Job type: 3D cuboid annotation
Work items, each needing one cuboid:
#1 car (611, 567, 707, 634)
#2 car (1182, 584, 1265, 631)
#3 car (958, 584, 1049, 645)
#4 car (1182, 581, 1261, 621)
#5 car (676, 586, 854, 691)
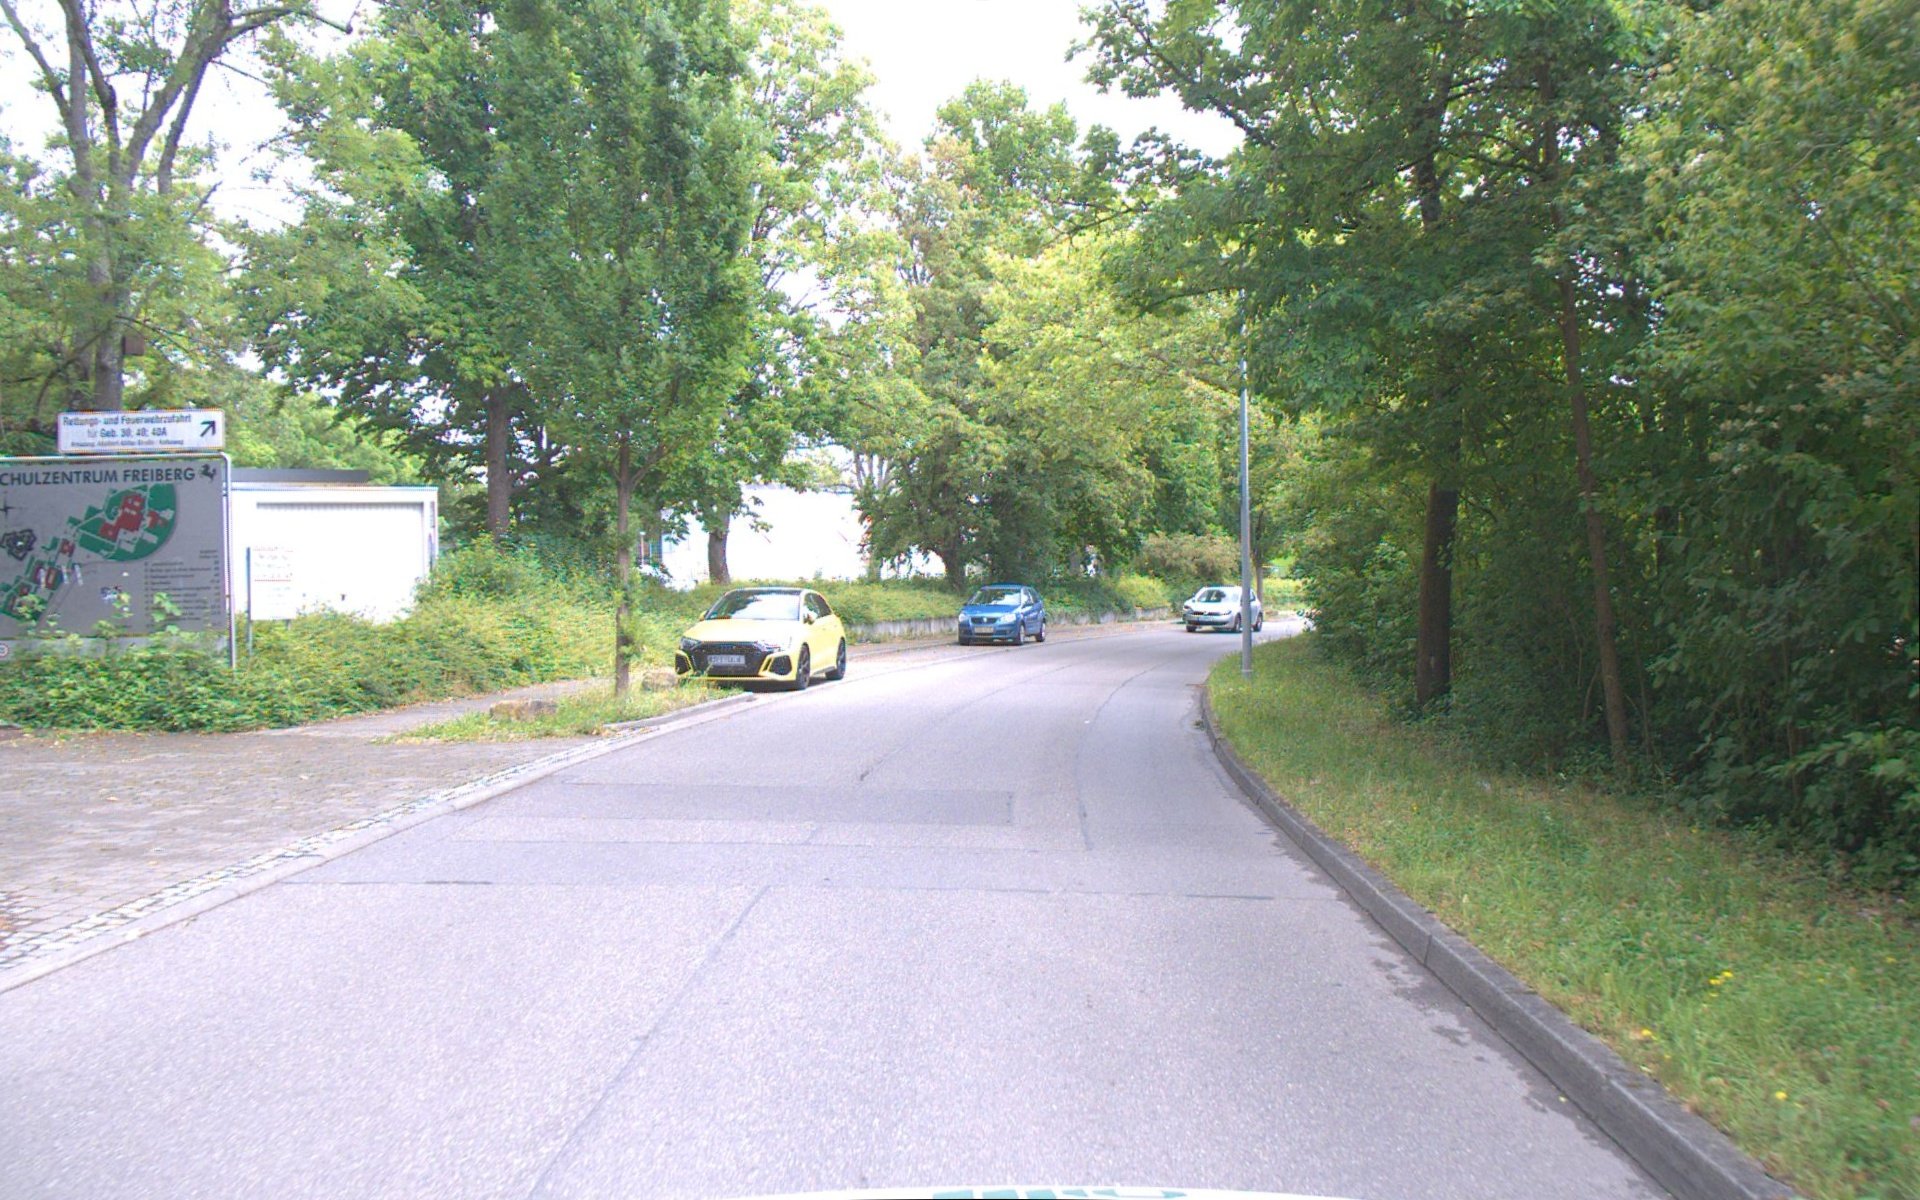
[{"bbox_3d":[-8.110,0.005,44.315,1.717,1.650,3.846,-2,1,-23],"label":"car"},{"bbox_3d":[8.808,0.222,55.098,1.643,1.488,4.058,1,1,25],"label":"car"},{"bbox_3d":[1.152,0.336,42.271,1.501,1.484,3.723,-1,0,15],"label":"car"},{"bbox_3d":[10.053,0.028,63.398,1.778,1.449,4.356,1,1,26],"label":"car"},{"bbox_3d":[-2.806,0.524,24.711,1.664,1.427,4.276,0,0,7],"label":"car"}]
